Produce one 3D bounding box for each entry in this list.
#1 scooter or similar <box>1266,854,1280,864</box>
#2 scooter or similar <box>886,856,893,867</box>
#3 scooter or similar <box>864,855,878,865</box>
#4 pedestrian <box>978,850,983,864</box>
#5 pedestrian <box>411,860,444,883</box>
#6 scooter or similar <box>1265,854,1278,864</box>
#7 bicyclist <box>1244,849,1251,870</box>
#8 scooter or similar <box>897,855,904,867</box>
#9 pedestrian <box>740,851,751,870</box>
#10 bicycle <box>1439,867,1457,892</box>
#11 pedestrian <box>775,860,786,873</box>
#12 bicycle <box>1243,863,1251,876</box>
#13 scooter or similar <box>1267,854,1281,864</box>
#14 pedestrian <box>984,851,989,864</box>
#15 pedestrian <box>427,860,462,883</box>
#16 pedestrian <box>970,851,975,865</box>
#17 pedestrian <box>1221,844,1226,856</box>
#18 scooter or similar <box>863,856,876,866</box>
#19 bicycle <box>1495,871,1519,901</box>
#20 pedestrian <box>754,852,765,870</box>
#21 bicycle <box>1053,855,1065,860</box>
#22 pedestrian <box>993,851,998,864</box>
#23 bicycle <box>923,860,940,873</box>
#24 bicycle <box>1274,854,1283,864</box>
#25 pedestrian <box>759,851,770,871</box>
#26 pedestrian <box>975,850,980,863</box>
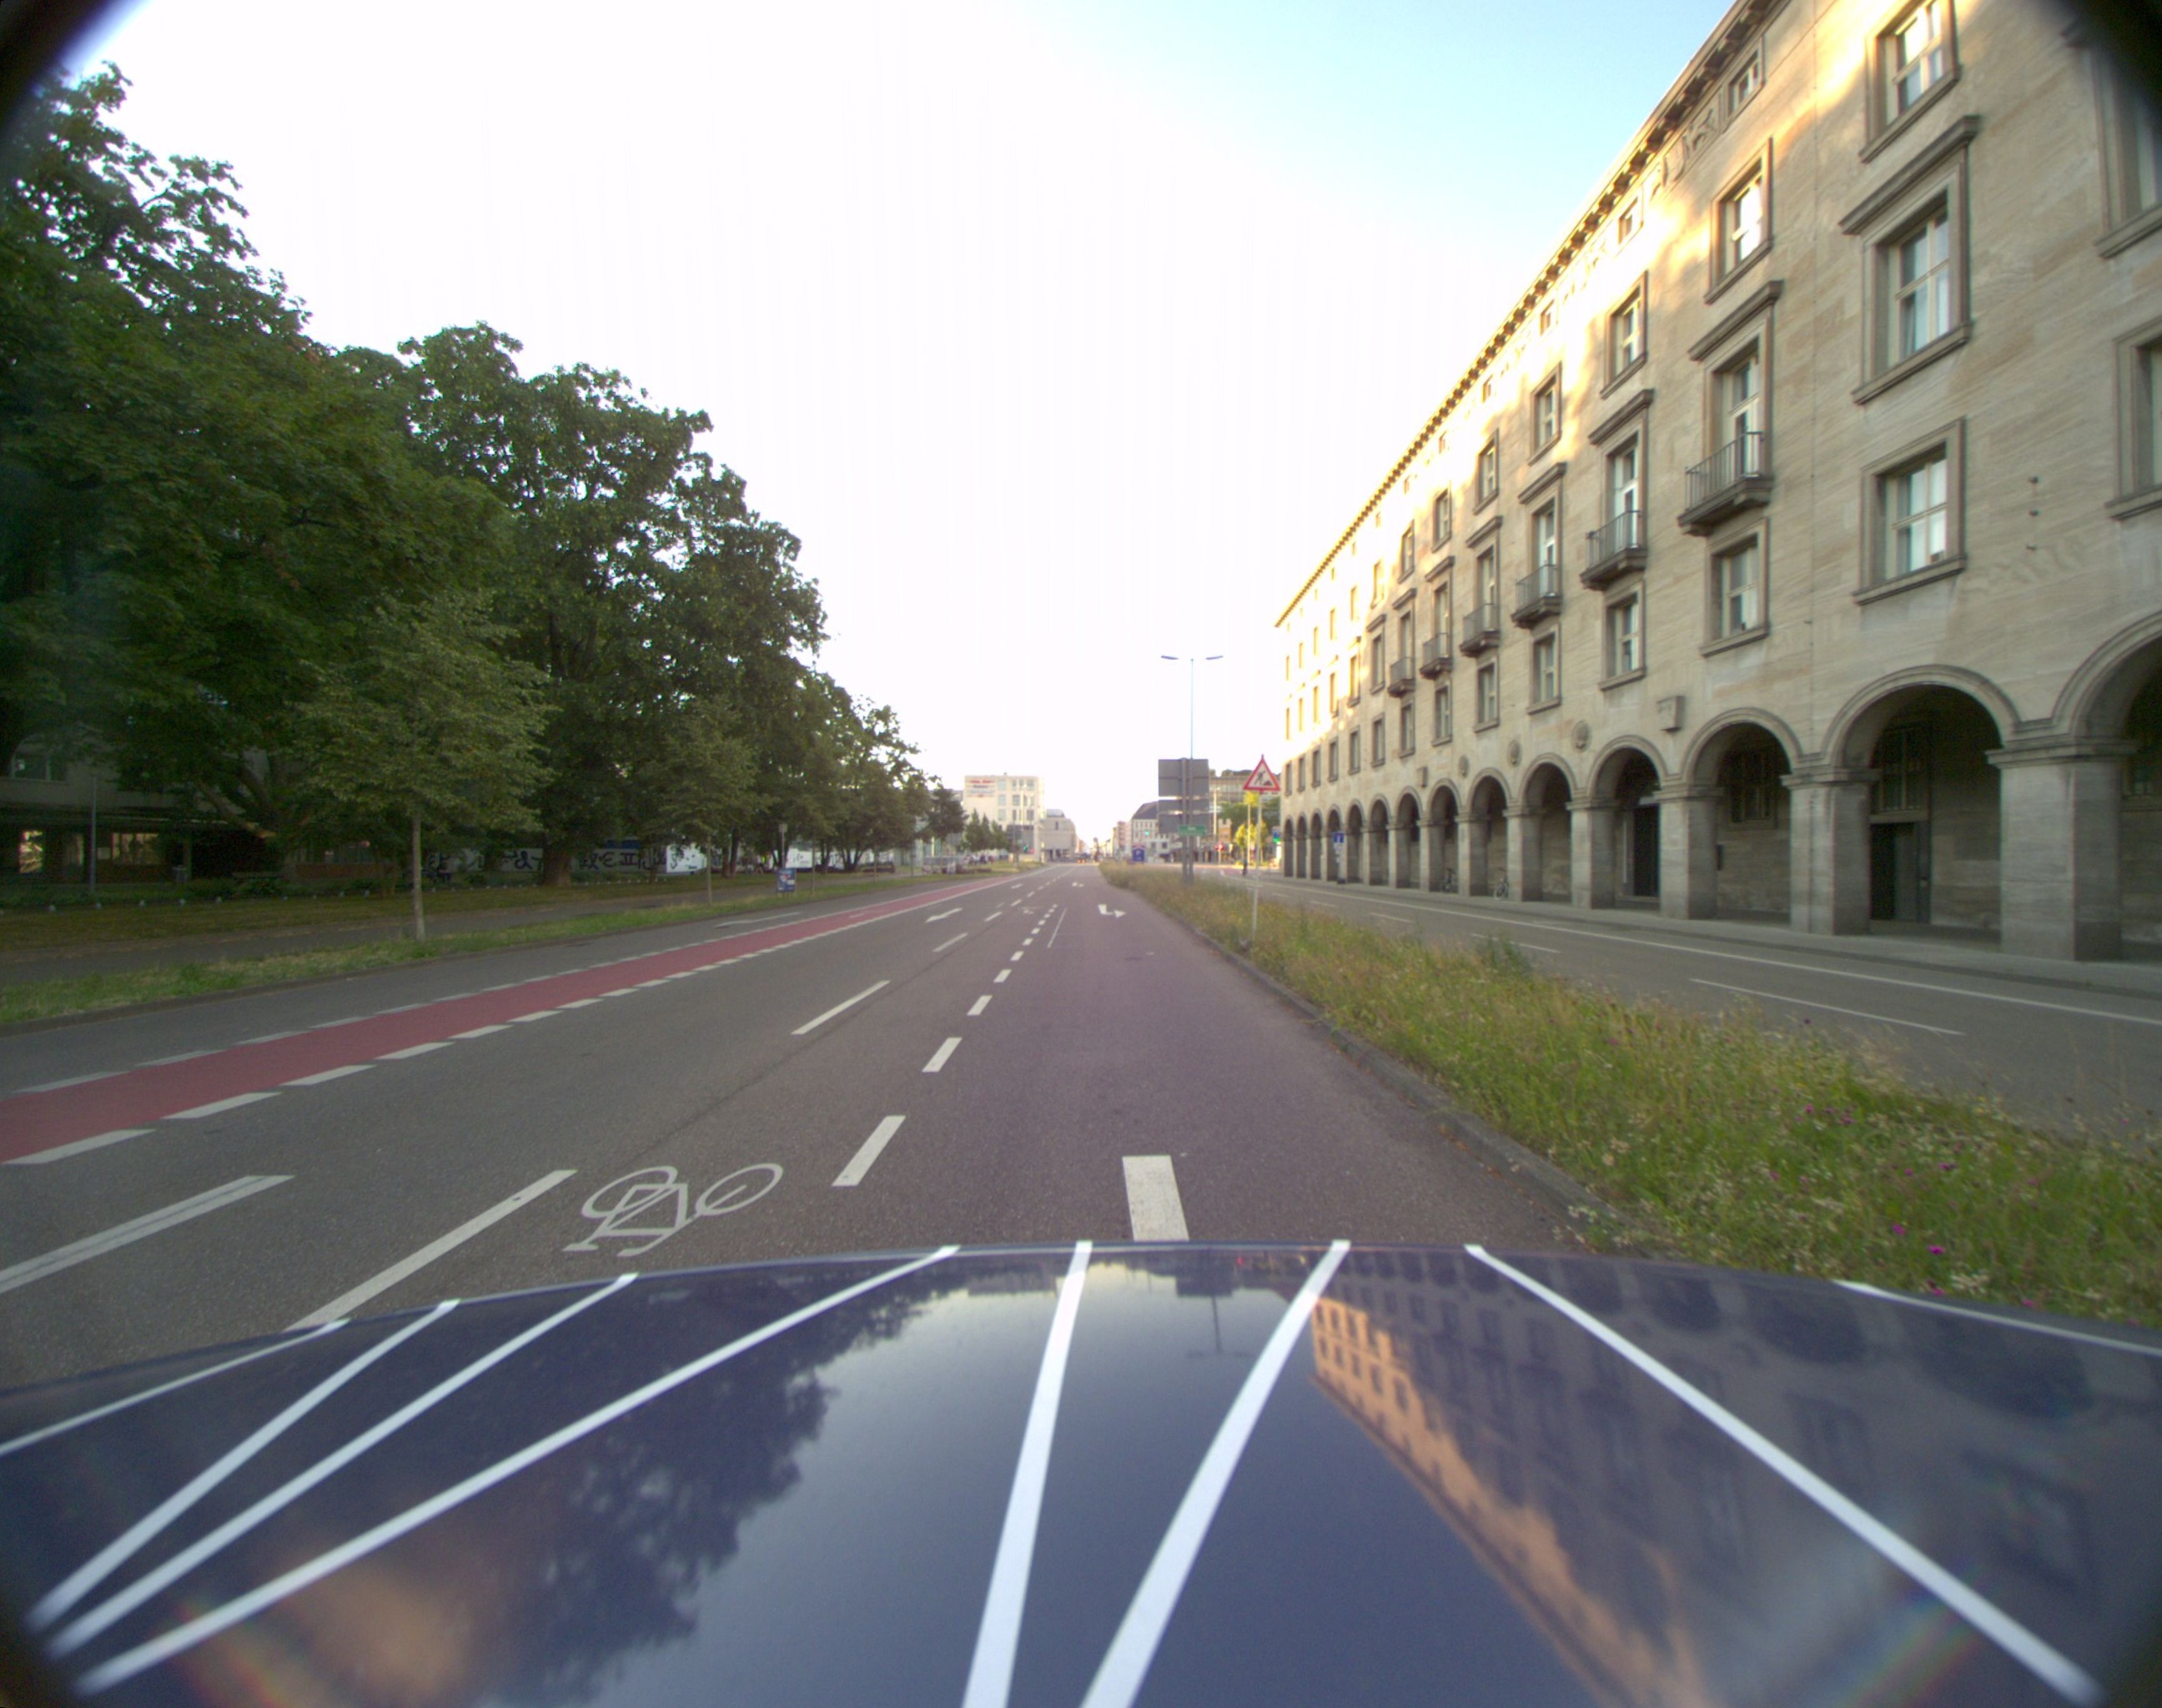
[{"bbox_3d":[26.381,0.713,104.643,1.836,1.297,0.423,0,1,-5],"label":"scooter or similar"},{"bbox_3d":[-21.186,0.787,84.157,0.474,1.213,1.573,2,0,-6],"label":"scooter or similar"},{"bbox_3d":[-26.857,0.819,97.101,1.573,1.213,0.474,-2,1,-1],"label":"scooter or similar"},{"bbox_3d":[-14.239,0.457,107.829,0.644,1.922,0.619,0,1,3],"label":"pedestrian"},{"bbox_3d":[-35.037,0.931,40.755,1.134,1.253,0.726,0,1,3],"label":"pedestrian"},{"bbox_3d":[26.356,0.717,105.127,1.793,1.297,0.417,0,1,-5],"label":"scooter or similar"},{"bbox_3d":[13.533,0.439,61.796,0.537,1.683,0.749,0,1,13],"label":"bicyclist"},{"bbox_3d":[-20.013,0.775,84.221,0.424,1.213,1.399,2,0,2],"label":"scooter or similar"},{"bbox_3d":[-33.212,0.662,75.194,0.768,1.845,0.601,0,1,16],"label":"pedestrian"},{"bbox_3d":[15.645,1.078,32.438,0.477,0.999,2.008,0,0,20],"label":"bicycle"},{"bbox_3d":[-20.628,0.876,52.091,0.682,0.879,0.592,0,1,-24],"label":"pedestrian"},{"bbox_3d":[13.461,1.266,61.562,0.542,0.999,2.007,0,0,13],"label":"bicycle"},{"bbox_3d":[26.412,0.708,104.201,1.841,1.297,0.423,0,1,-5],"label":"scooter or similar"},{"bbox_3d":[-14.141,0.518,114.197,0.644,1.922,0.619,0,1,3],"label":"pedestrian"},{"bbox_3d":[-34.922,0.940,41.703,1.134,1.253,0.905,0,1,3],"label":"pedestrian"},{"bbox_3d":[-15.427,0.569,107.749,0.644,1.922,0.619,0,1,3],"label":"pedestrian"},{"bbox_3d":[24.155,-0.647,128.580,0.661,1.922,0.648,0,0,2],"label":"pedestrian"},{"bbox_3d":[-26.799,0.834,96.284,1.573,1.213,0.474,-2,1,-1],"label":"scooter or similar"},{"bbox_3d":[15.363,1.119,27.403,0.477,0.999,2.009,0,0,37],"label":"bicycle"},{"bbox_3d":[-32.132,0.688,75.911,0.768,1.810,0.601,0,1,16],"label":"pedestrian"},{"bbox_3d":[-5.506,0.867,189.187,2.804,1.209,0.765,0,0,10],"label":"bicycle"},{"bbox_3d":[-12.904,0.507,114.192,0.644,1.922,0.619,0,1,3],"label":"pedestrian"},{"bbox_3d":[-12.705,1.049,64.551,0.494,1.000,1.901,3,1,21],"label":"bicycle"},{"bbox_3d":[26.556,0.678,102.198,0.619,1.316,2.509,0,0,-1],"label":"bicycle"},{"bbox_3d":[-31.064,0.682,74.579,0.768,1.908,0.601,0,1,16],"label":"pedestrian"},{"bbox_3d":[-15.236,0.314,111.949,0.644,1.922,0.619,0,1,3],"label":"pedestrian"}]
